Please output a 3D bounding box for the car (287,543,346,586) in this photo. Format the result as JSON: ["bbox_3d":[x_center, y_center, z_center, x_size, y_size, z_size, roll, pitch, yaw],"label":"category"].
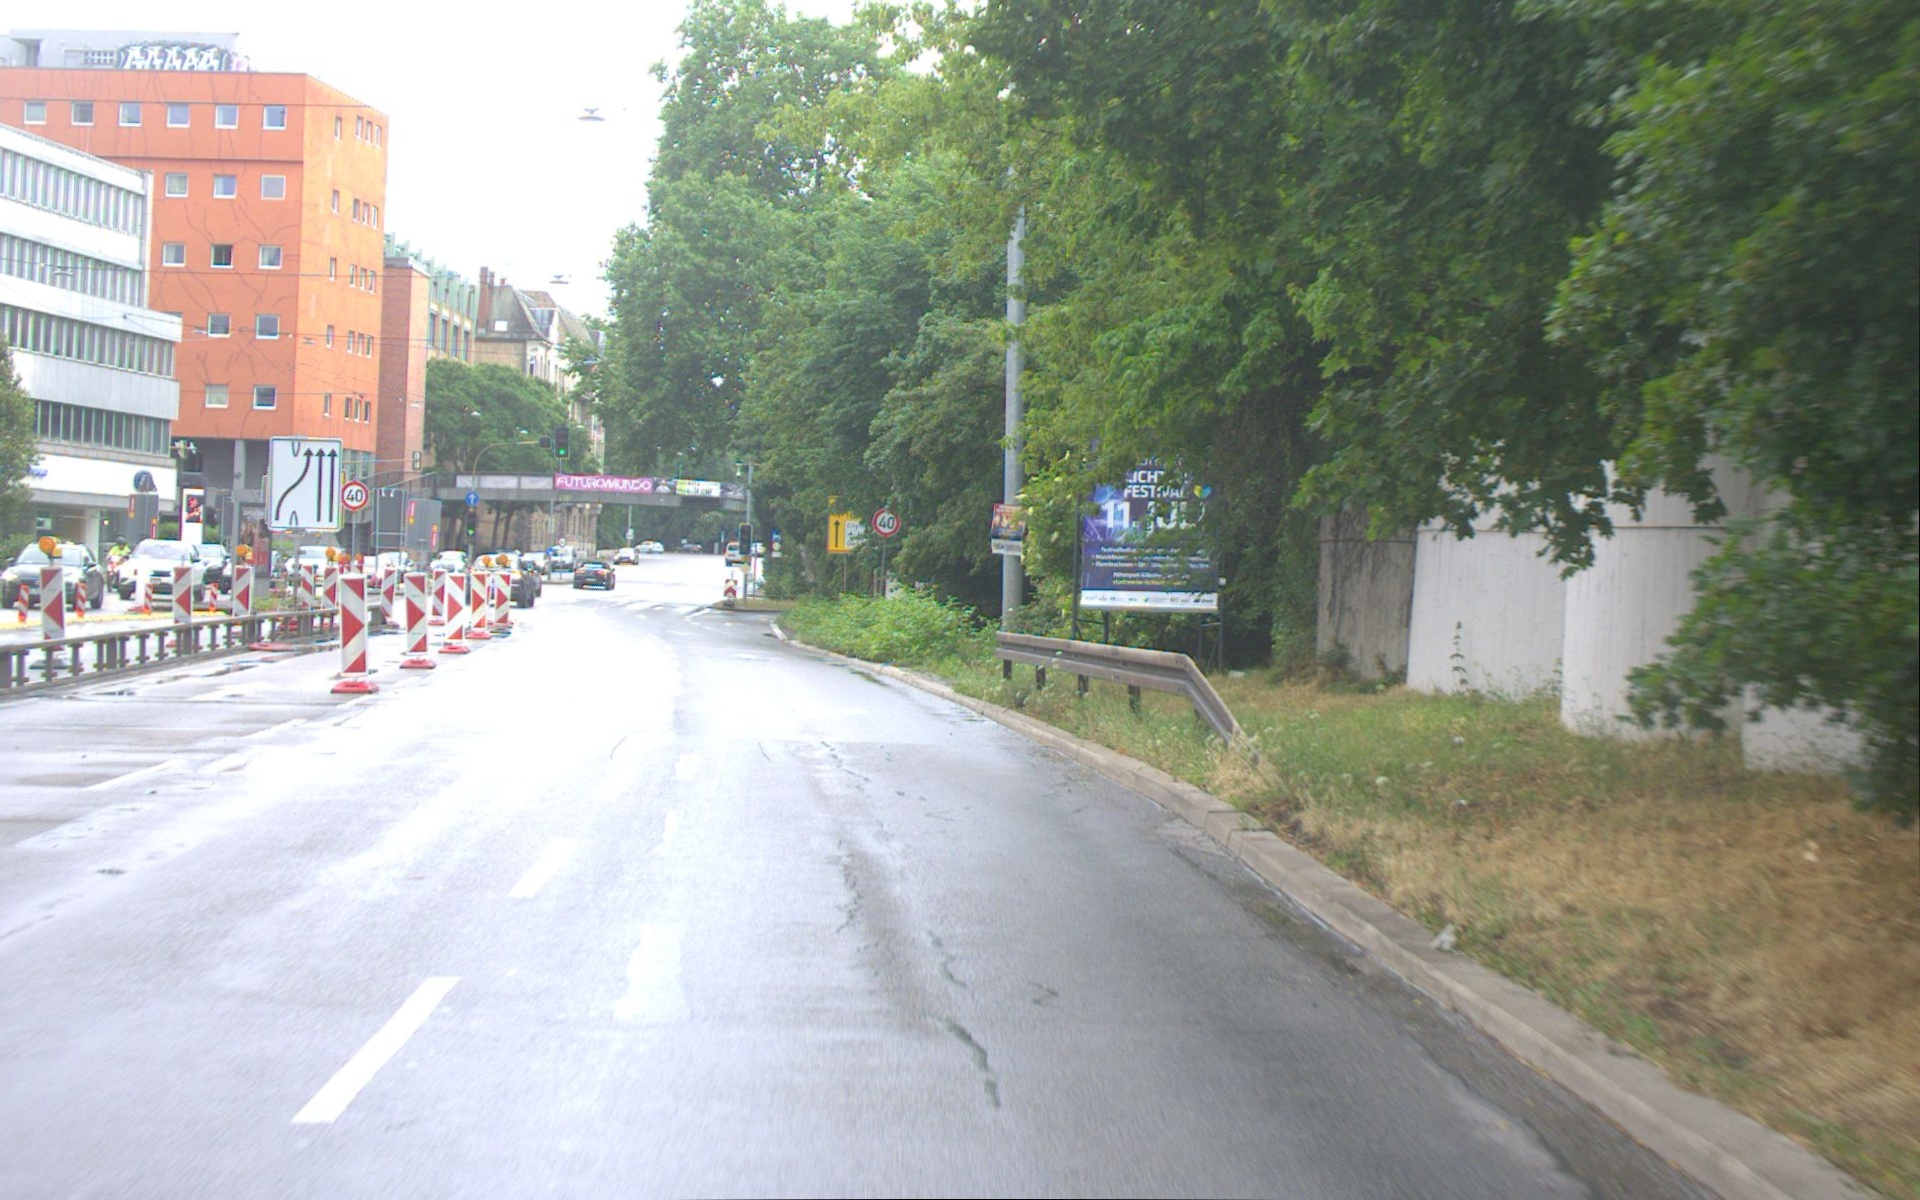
[{"bbox_3d":[-27.301,-1.504,146.055,1.979,1.701,4.832,2,0,-5],"label":"car"}]

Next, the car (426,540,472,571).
[{"bbox_3d":[-27.798,-2.408,187.134,1.808,1.553,4.301,2,0,0],"label":"car"}]

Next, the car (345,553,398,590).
[{"bbox_3d":[-23.805,-1.155,139.118,1.735,1.399,4.290,3,0,-5],"label":"car"}]

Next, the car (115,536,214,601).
[{"bbox_3d":[-21.592,-0.861,93.465,1.938,1.684,4.581,1,1,-5],"label":"car"}]

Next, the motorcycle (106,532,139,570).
[{"bbox_3d":[-24.940,-1.464,102.387,0.579,1.098,2.028,1,0,-4],"label":"motorcycle"}]

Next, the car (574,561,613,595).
[{"bbox_3d":[-18.710,-1.133,175.629,1.763,1.691,3.706,1,0,-3],"label":"car"}]

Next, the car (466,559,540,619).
[{"bbox_3d":[-15.199,-0.377,114.488,2.120,1.729,4.199,4,1,-5],"label":"car"}]

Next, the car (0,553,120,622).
[{"bbox_3d":[-20.209,-0.289,77.150,1.851,1.461,4.708,1,0,-4],"label":"car"}]
